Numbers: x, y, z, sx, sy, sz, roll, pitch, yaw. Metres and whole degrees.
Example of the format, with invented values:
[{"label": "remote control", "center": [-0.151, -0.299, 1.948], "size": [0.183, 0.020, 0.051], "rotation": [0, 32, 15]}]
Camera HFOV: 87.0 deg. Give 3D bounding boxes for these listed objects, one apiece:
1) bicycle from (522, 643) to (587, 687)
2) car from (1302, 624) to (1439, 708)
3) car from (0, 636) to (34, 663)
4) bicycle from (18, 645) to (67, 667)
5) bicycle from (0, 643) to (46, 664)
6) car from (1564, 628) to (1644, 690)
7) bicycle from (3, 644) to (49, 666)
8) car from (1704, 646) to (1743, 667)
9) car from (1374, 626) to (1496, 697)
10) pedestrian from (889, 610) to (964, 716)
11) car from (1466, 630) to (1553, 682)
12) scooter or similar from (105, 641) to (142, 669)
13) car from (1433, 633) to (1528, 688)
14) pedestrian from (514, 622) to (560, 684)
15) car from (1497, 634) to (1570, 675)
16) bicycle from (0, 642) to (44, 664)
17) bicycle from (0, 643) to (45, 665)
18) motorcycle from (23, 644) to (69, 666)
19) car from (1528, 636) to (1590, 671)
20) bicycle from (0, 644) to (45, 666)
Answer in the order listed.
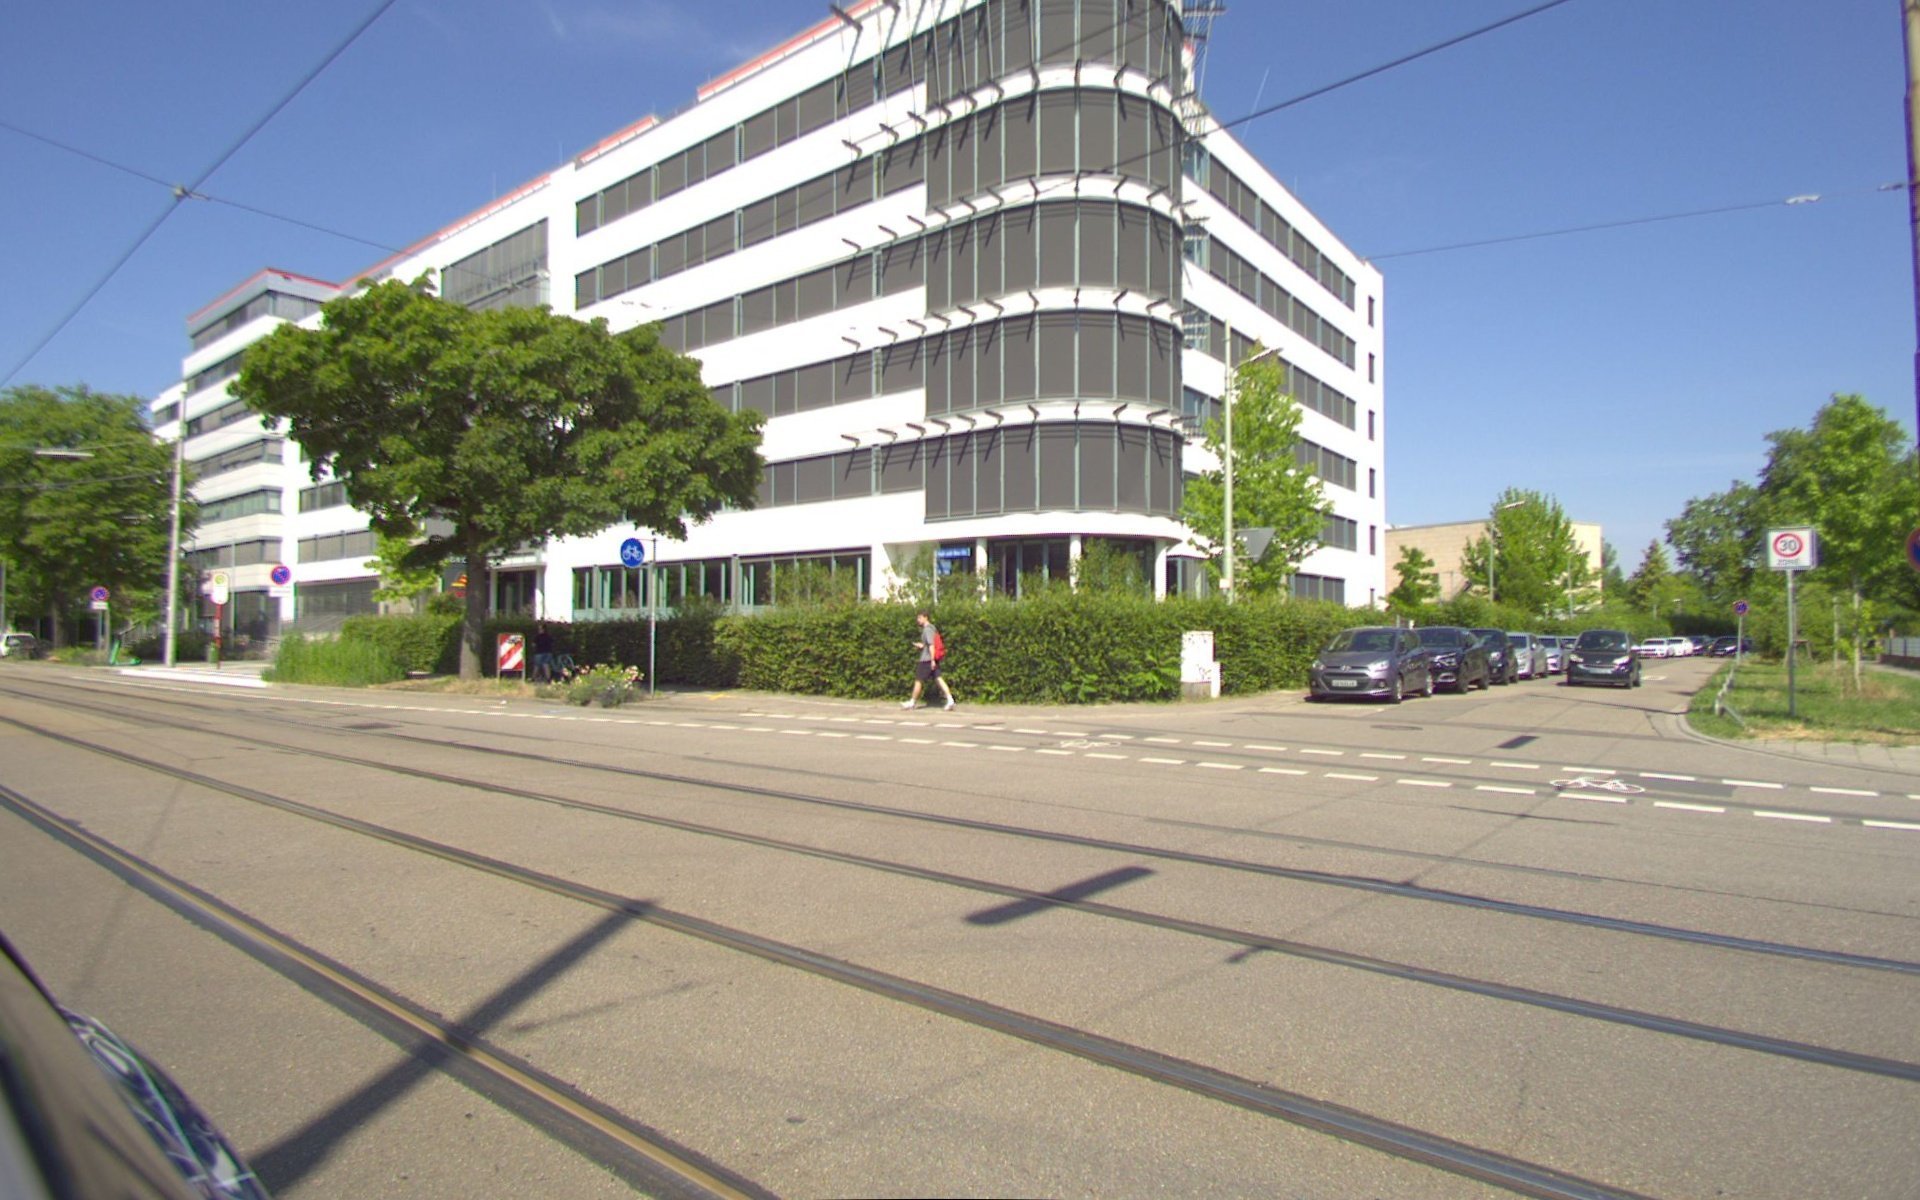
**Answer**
[{"label": "bicycle", "center": [-10.743, 1.692, 26.786], "size": [2.064, 1.126, 0.630], "rotation": [-2, -3, 38]}, {"label": "car", "center": [8.391, 1.293, 20.526], "size": [1.702, 1.539, 3.649], "rotation": [-1, -3, 37]}, {"label": "car", "center": [-54.647, 2.816, 58.196], "size": [3.627, 1.483, 1.613], "rotation": [-2, -3, 40]}, {"label": "bicycle", "center": [-46.743, 2.837, 51.572], "size": [0.788, 1.094, 1.707], "rotation": [-2, -3, 38]}, {"label": "bicycle", "center": [-50.308, 2.869, 54.307], "size": [0.725, 1.094, 1.775], "rotation": [-2, -3, 38]}, {"label": "car", "center": [17.358, 1.546, 27.245], "size": [1.477, 1.550, 2.937], "rotation": [-2, -2, 39]}, {"label": "bicycle", "center": [-49.602, 2.920, 53.771], "size": [0.639, 1.094, 1.707], "rotation": [-2, -3, 38]}, {"label": "car", "center": [56.868, 4.190, 75.375], "size": [1.935, 1.460, 3.774], "rotation": [-2, -3, 42]}, {"label": "car", "center": [11.356, 1.416, 24.044], "size": [1.812, 1.530, 4.116], "rotation": [-1, -3, 37]}, {"label": "pedestrian", "center": [-0.593, 1.113, 18.182], "size": [1.067, 1.832, 0.885], "rotation": [-1, -3, 24]}, {"label": "car", "center": [17.411, 1.728, 31.978], "size": [1.812, 1.517, 3.993], "rotation": [-2, -2, 37]}, {"label": "scooter or similar", "center": [-36.026, 2.376, 43.590], "size": [0.675, 1.175, 1.114], "rotation": [-2, -3, 41]}, {"label": "car", "center": [14.806, 1.674, 28.690], "size": [1.780, 1.455, 3.802], "rotation": [-1, -3, 37]}, {"label": "pedestrian", "center": [-11.062, 1.384, 26.446], "size": [0.986, 1.575, 0.680], "rotation": [-2, -1, 34]}, {"label": "car", "center": [20.894, 1.945, 36.814], "size": [1.812, 1.414, 3.780], "rotation": [-2, -3, 37]}, {"label": "bicycle", "center": [-51.661, 2.921, 55.584], "size": [0.818, 1.178, 1.885], "rotation": [-2, -3, 38]}, {"label": "bicycle", "center": [-51.182, 2.924, 55.146], "size": [0.685, 1.150, 1.854], "rotation": [-2, -3, 38]}, {"label": "motorcycle", "center": [-48.159, 2.889, 53.350], "size": [0.658, 1.094, 1.707], "rotation": [-2, -3, 38]}, {"label": "car", "center": [24.888, 2.182, 41.988], "size": [1.812, 1.332, 3.780], "rotation": [-2, -2, 37]}, {"label": "bicycle", "center": [-50.705, 2.954, 54.655], "size": [0.679, 1.140, 1.831], "rotation": [-2, -3, 38]}]
